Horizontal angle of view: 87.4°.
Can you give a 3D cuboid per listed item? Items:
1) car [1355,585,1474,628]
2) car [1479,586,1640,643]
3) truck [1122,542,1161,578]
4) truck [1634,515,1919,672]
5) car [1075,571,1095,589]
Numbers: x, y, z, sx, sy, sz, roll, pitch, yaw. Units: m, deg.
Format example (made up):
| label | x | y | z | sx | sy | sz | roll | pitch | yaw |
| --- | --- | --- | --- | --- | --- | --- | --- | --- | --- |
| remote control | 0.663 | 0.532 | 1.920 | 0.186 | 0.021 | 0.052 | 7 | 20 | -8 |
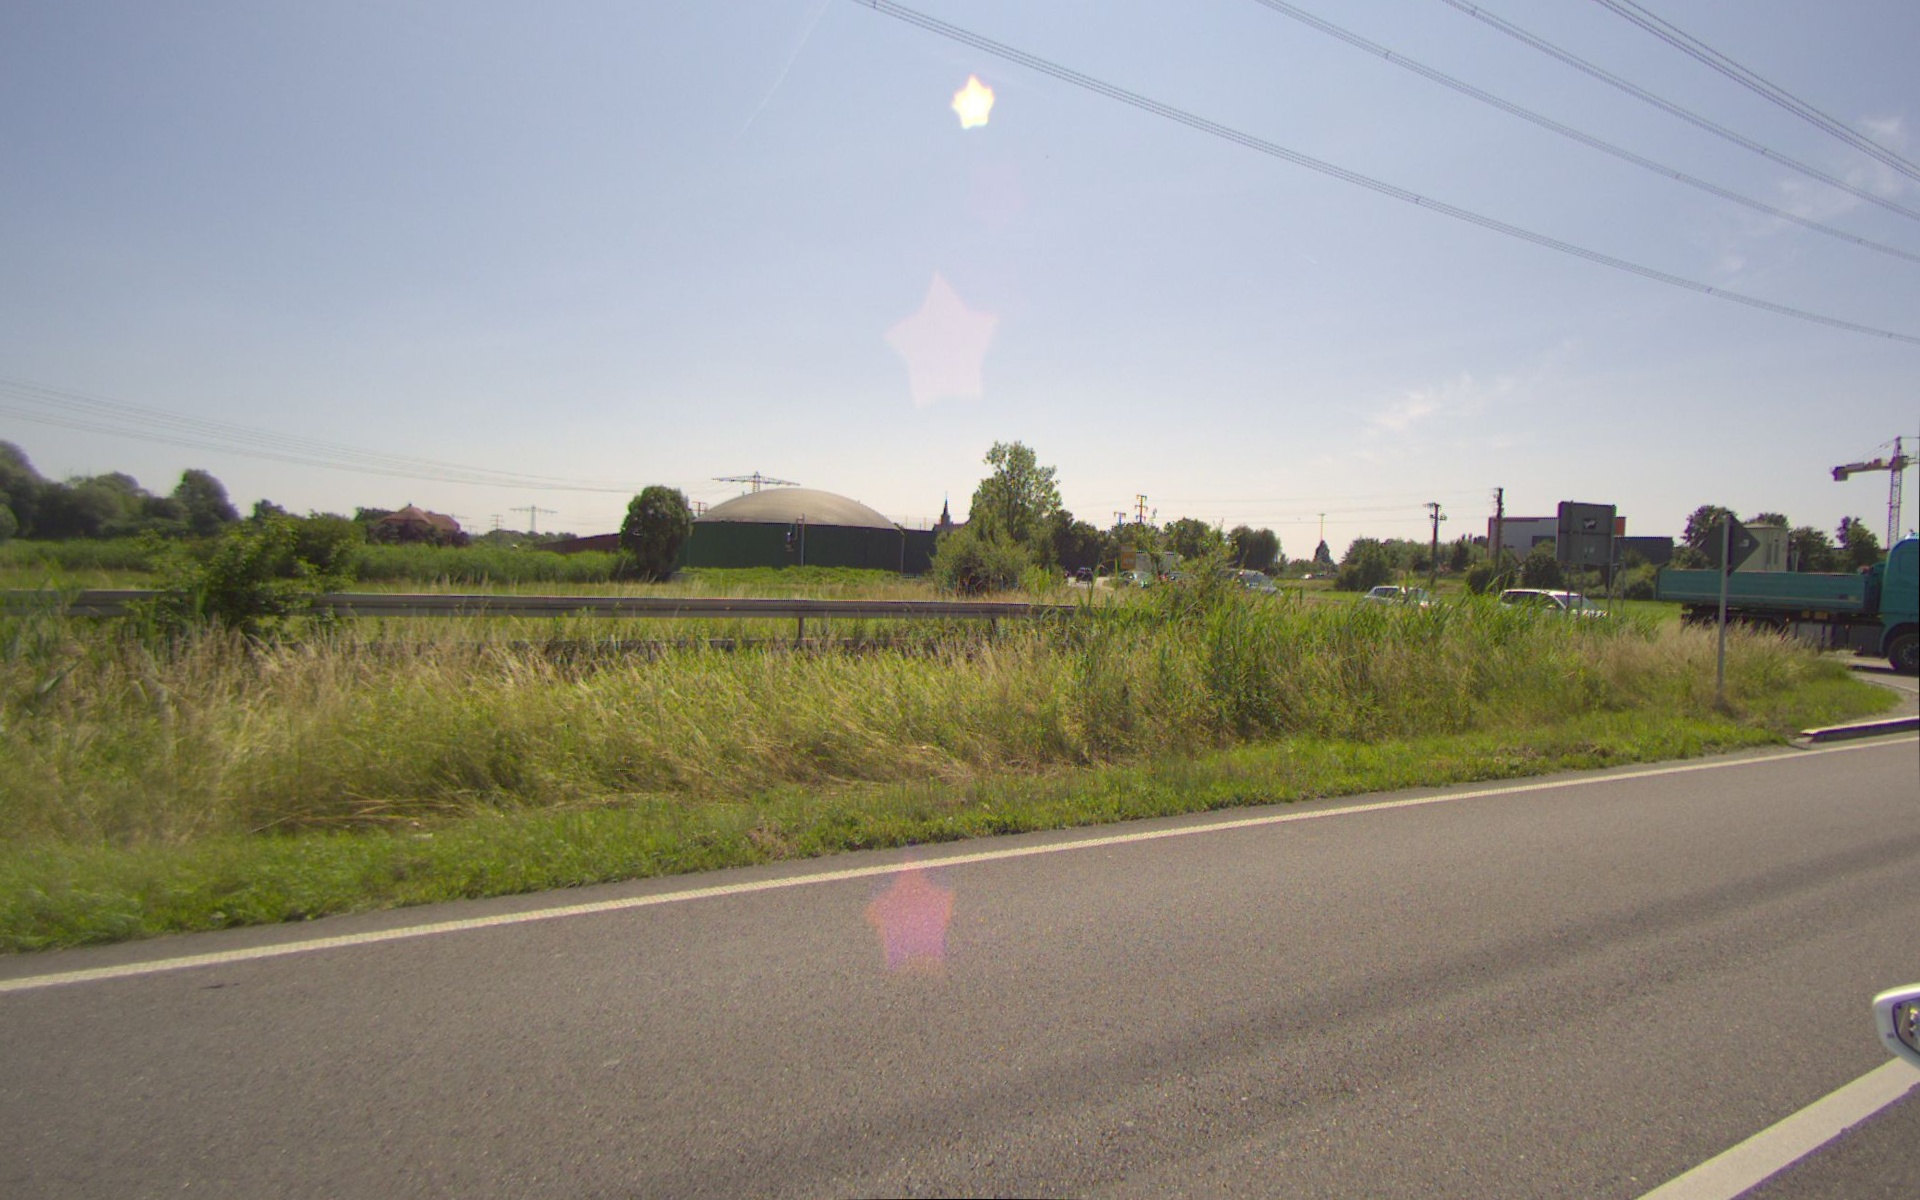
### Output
| label | x | y | z | sx | sy | sz | roll | pitch | yaw |
| --- | --- | --- | --- | --- | --- | --- | --- | --- | --- |
| car | 17.787 | 0.224 | 39.524 | 1.691 | 1.490 | 4.428 | 1 | 1 | -18 |
| car | 19.968 | 0.433 | 33.719 | 1.935 | 1.634 | 4.541 | 1 | 2 | -15 |
| truck | 26.634 | -5.770 | 146.767 | 3.617 | 4.708 | 13.241 | 2 | 1 | 18 |
| truck | 23.151 | -0.266 | 27.137 | 2.466 | 3.785 | 7.875 | 1 | 3 | -26 |
| car | 13.137 | -2.086 | 105.575 | 1.959 | 1.701 | 4.002 | 1 | 0 | 9 |
